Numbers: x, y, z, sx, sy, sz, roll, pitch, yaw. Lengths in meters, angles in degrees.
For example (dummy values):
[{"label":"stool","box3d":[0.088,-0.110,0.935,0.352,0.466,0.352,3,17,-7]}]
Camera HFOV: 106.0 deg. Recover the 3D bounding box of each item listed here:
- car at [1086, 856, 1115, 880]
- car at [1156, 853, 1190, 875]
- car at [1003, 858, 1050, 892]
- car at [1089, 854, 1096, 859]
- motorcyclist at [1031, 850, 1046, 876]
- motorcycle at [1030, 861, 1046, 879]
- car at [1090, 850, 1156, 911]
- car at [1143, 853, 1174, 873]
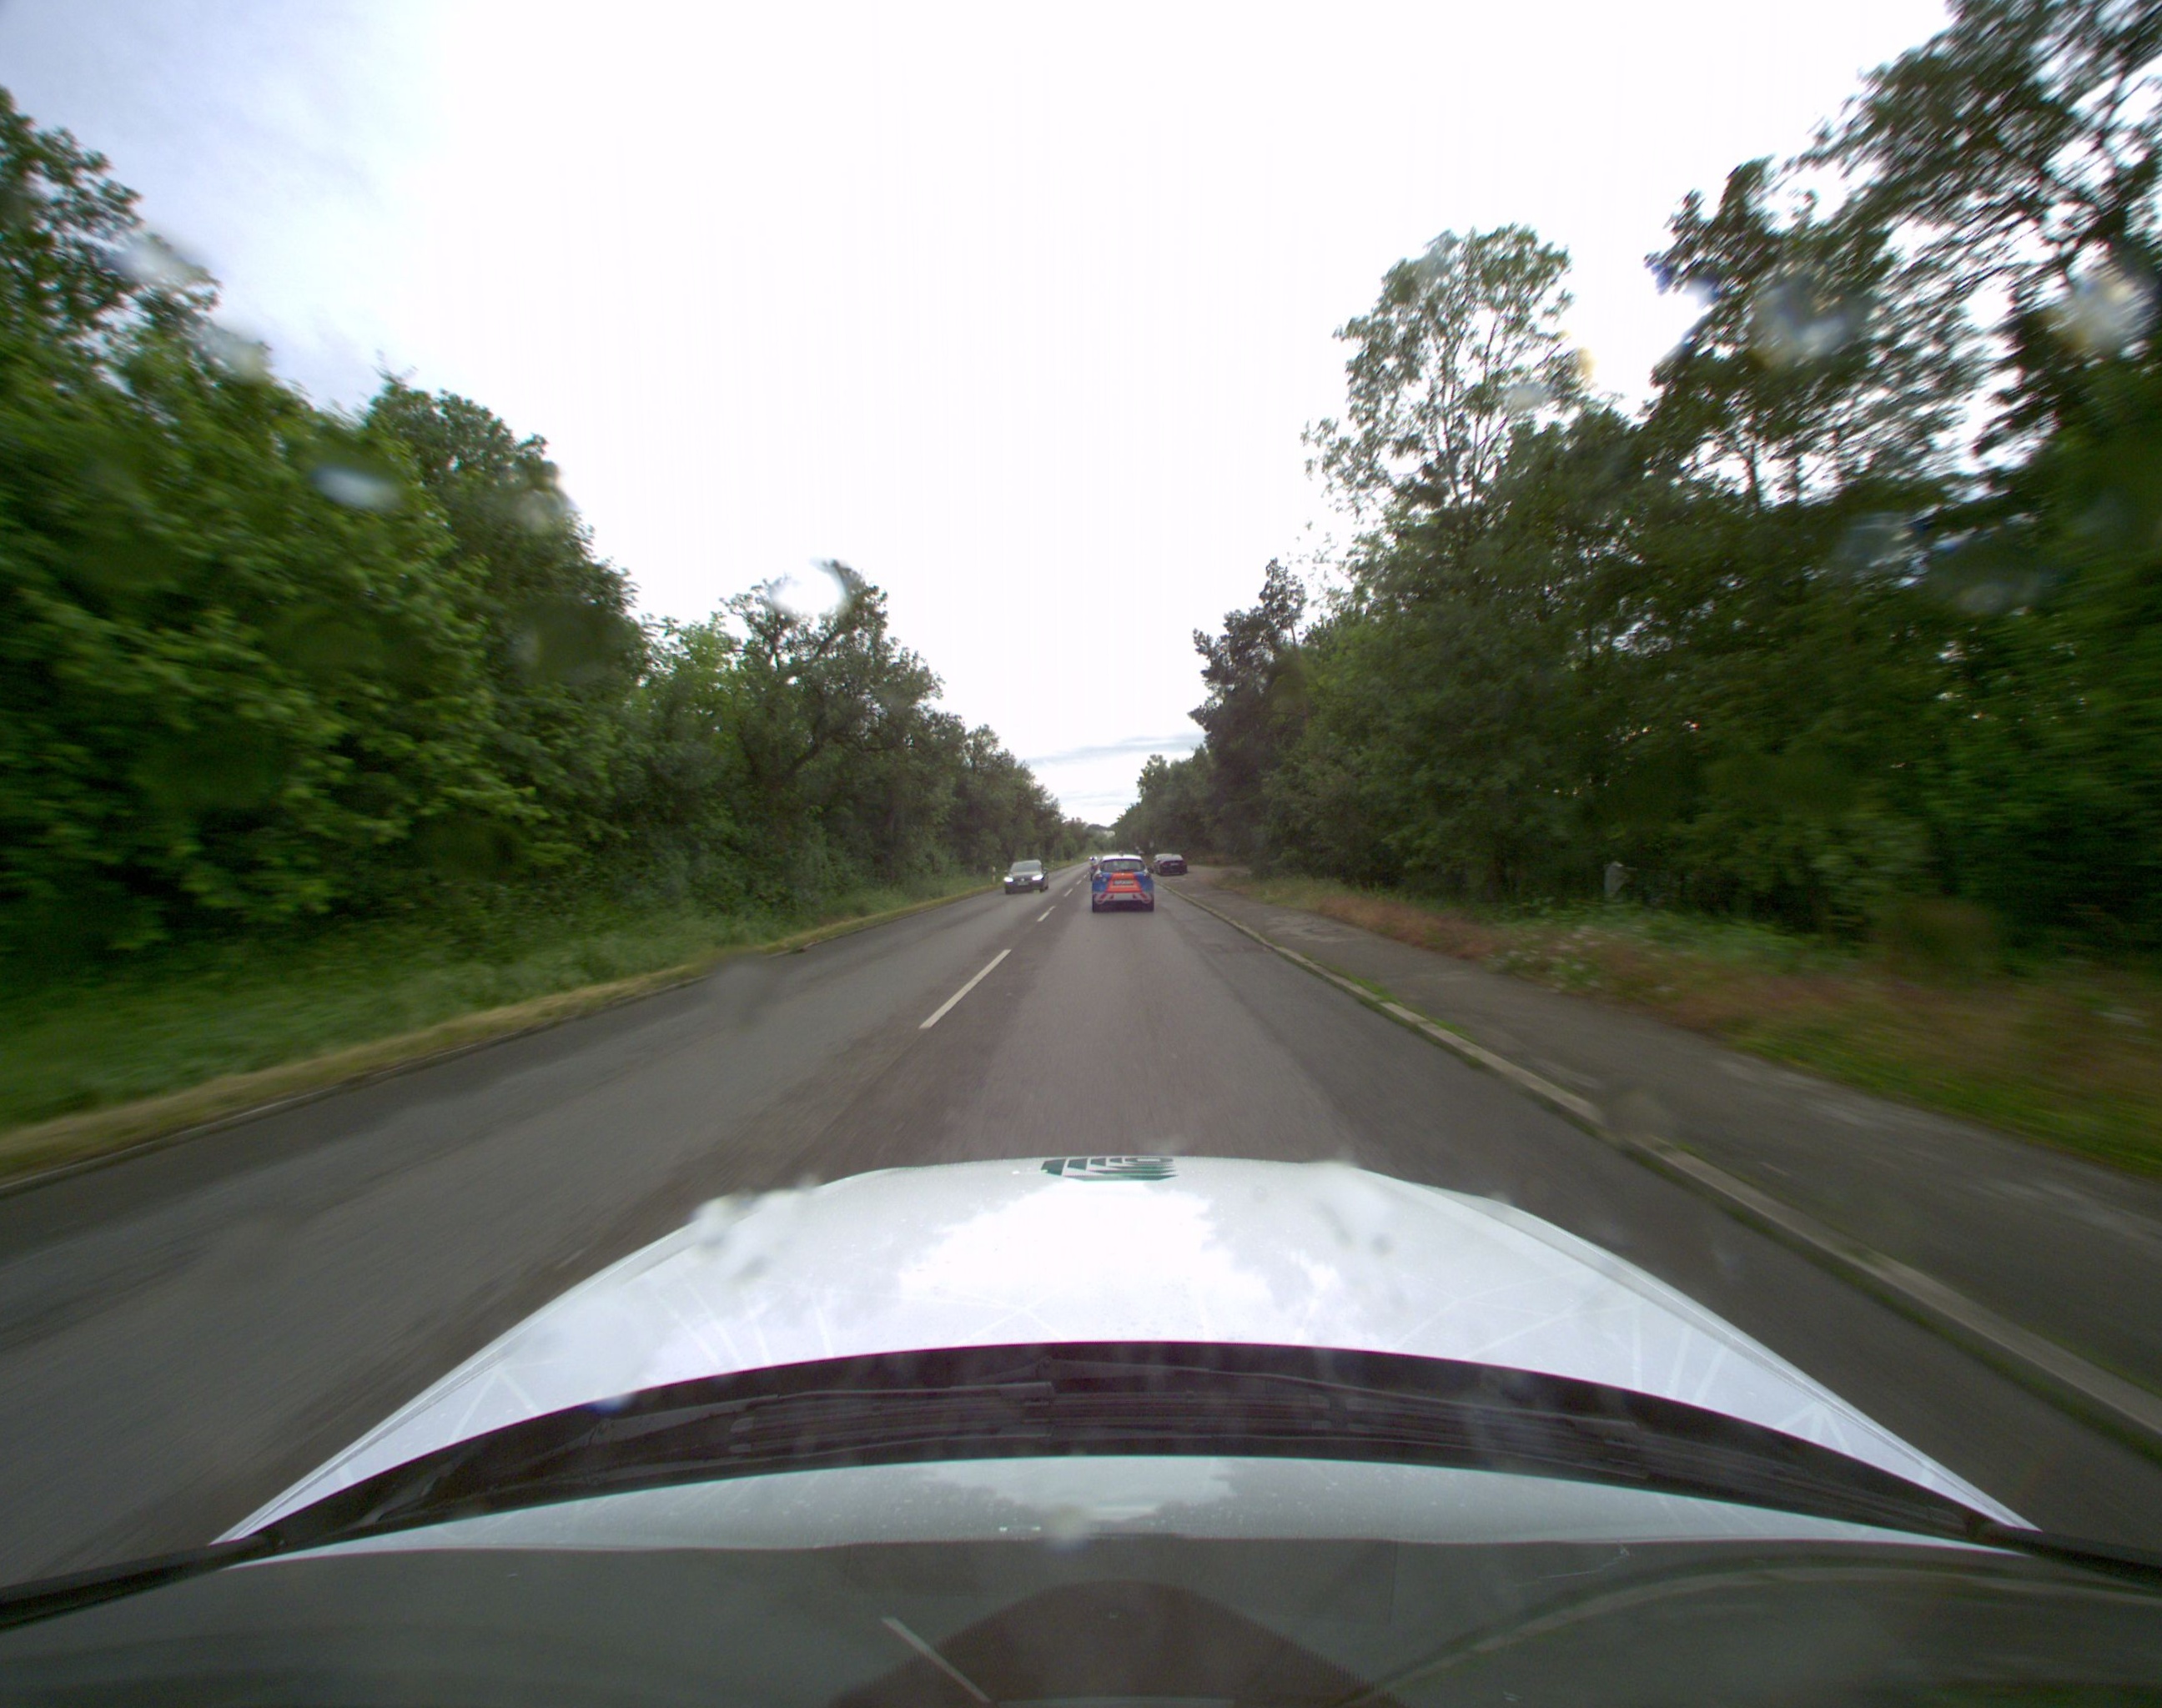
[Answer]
[{"label":"car","box3d":[1.211,0.809,49.077,1.592,1.287,3.478,-2,0,3]},{"label":"car","box3d":[6.213,0.636,55.212,1.985,1.376,4.003,-2,0,3]},{"label":"car","box3d":[-2.468,0.929,37.599,1.704,1.399,4.151,-4,0,1]},{"label":"car","box3d":[3.154,0.596,221.312,1.878,1.387,4.000,-1,0,0]},{"label":"motorcyclist","box3d":[-2.860,0.615,54.598,0.865,1.722,1.036,-2,0,1]},{"label":"motorcycle","box3d":[-2.850,1.081,54.449,0.865,1.126,2.396,-2,0,1]},{"label":"car","box3d":[1.169,0.704,23.505,1.745,1.555,3.794,-1,1,2]},{"label":"car","box3d":[5.824,0.650,61.315,1.987,1.441,4.068,-1,0,1]}]
